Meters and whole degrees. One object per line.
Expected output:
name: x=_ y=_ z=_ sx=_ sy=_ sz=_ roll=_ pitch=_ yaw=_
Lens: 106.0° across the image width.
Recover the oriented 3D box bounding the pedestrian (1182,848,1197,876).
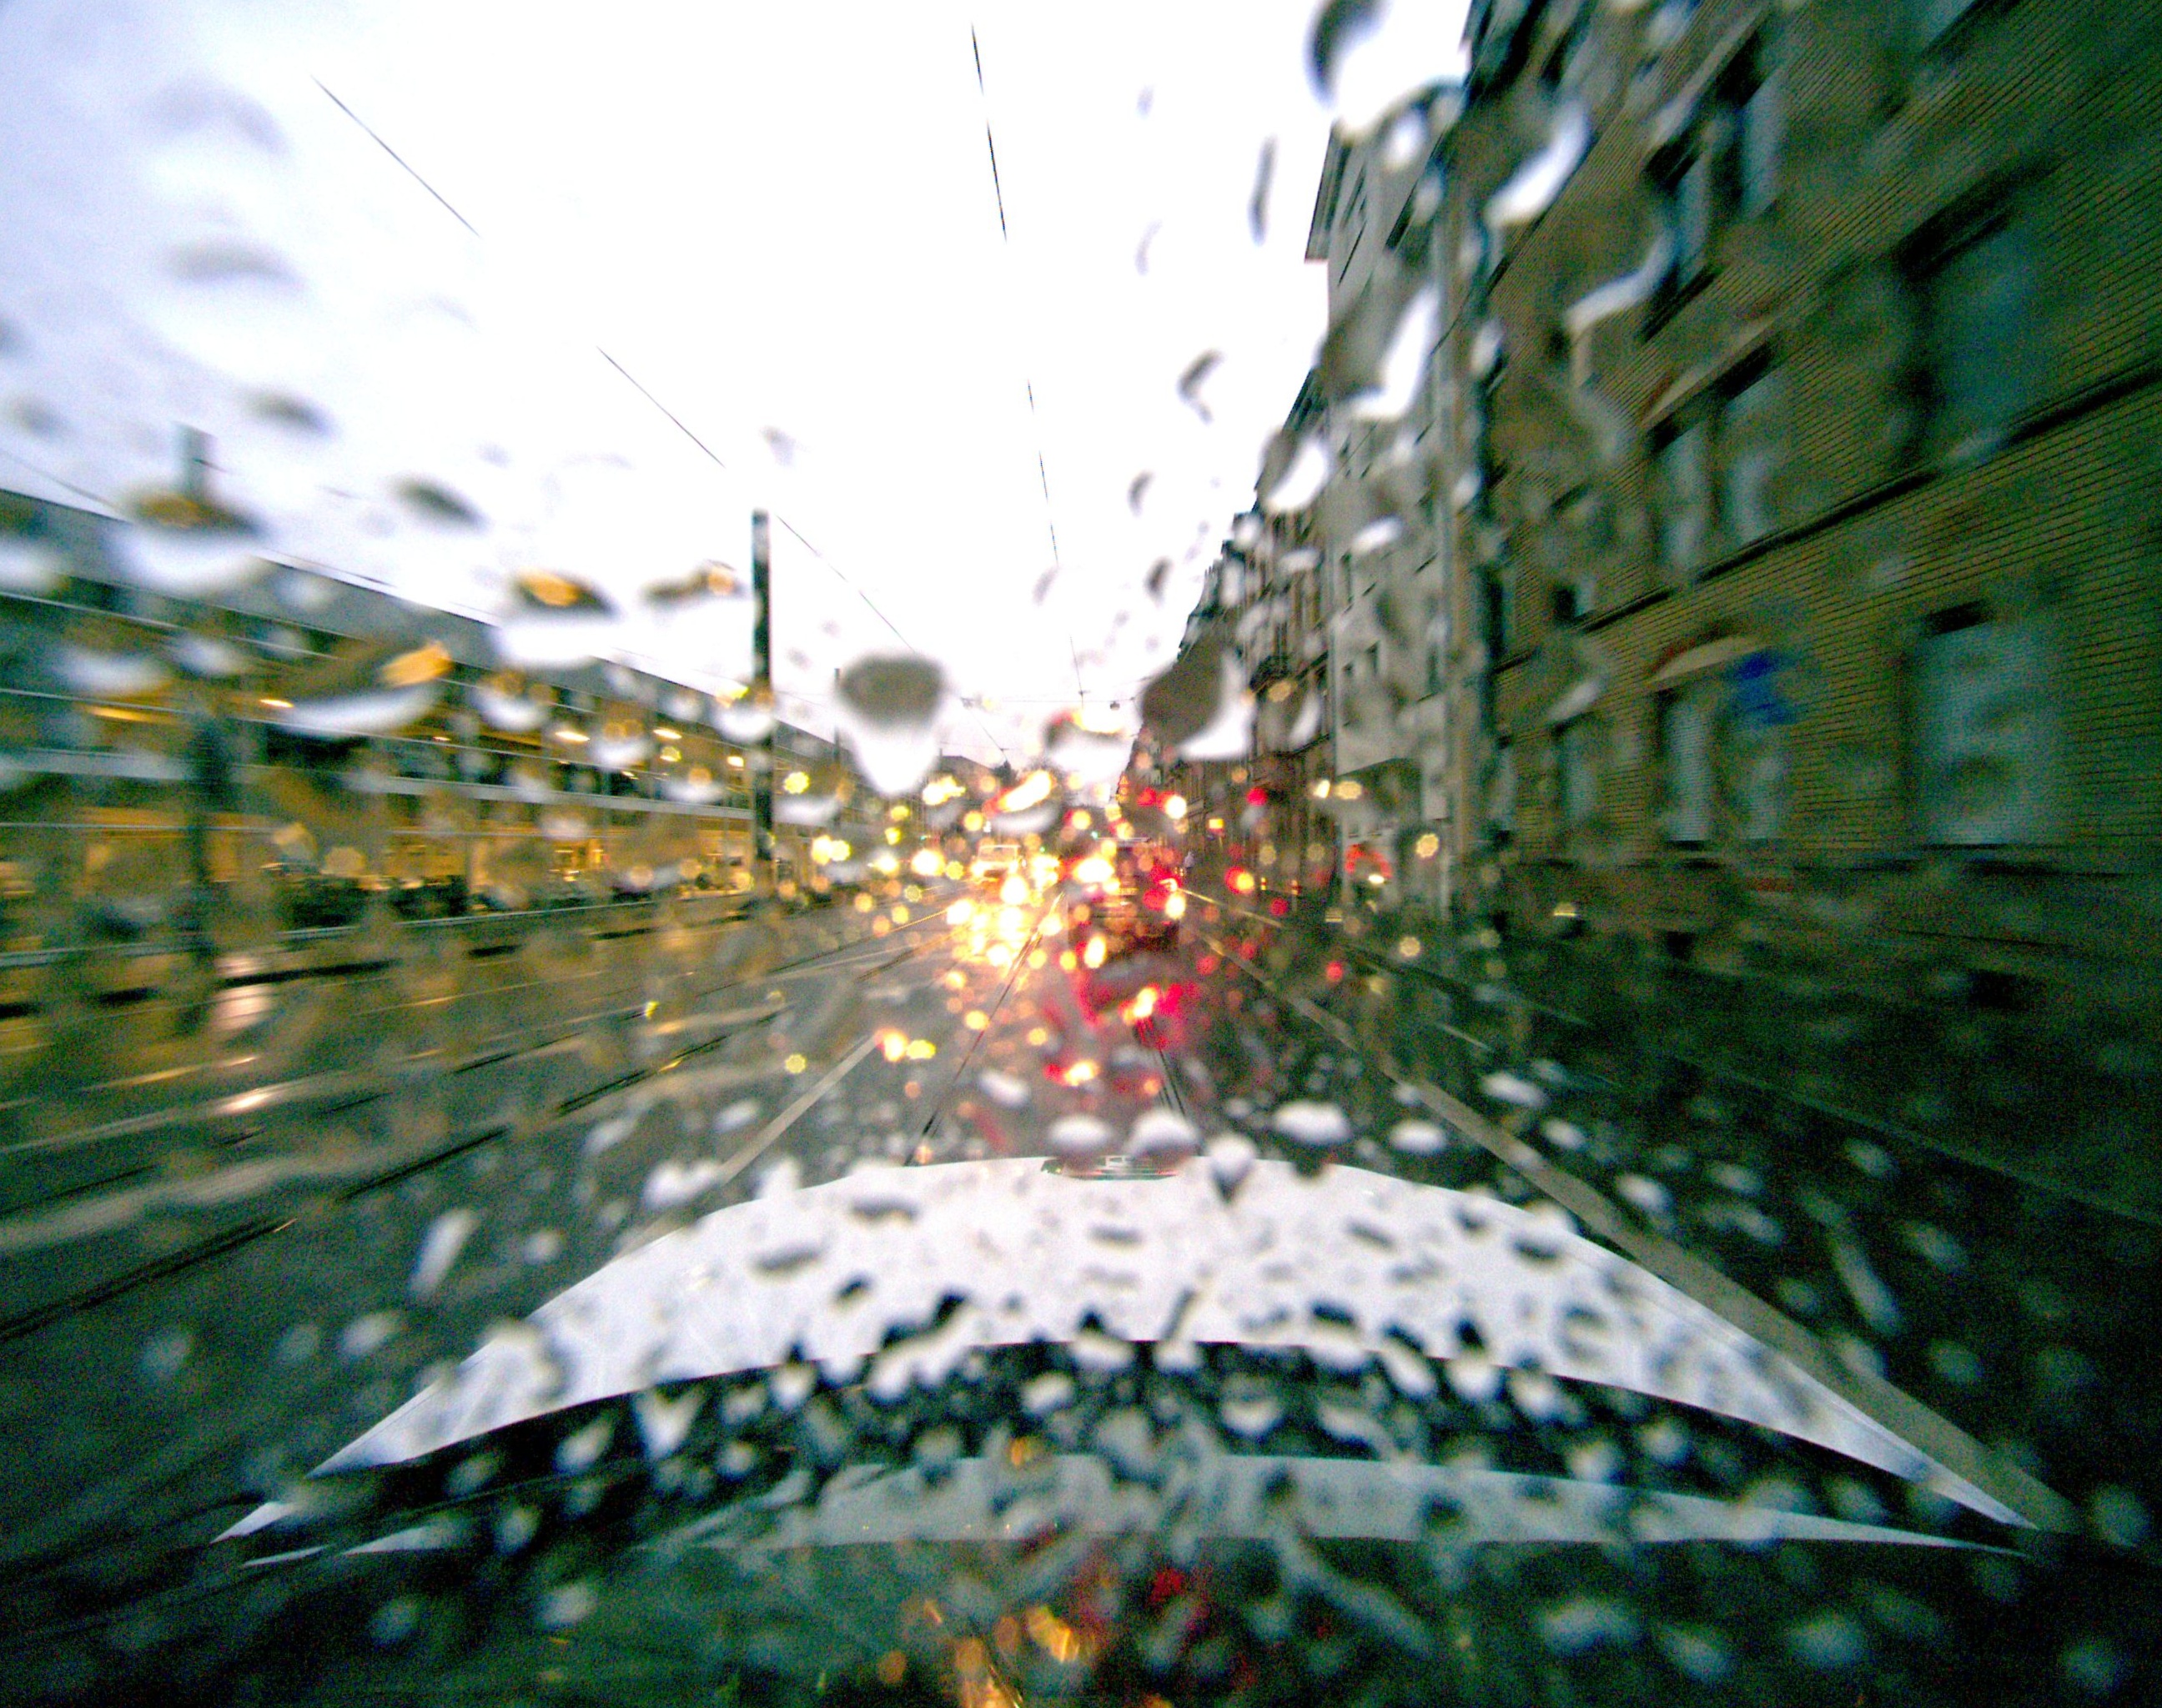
pedestrian: x=6.352 y=0.450 z=47.658 sx=0.783 sy=1.597 sz=0.742 roll=-1 pitch=0 yaw=1

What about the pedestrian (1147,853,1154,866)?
pedestrian: x=7.072 y=0.545 z=82.930 sx=0.598 sy=1.376 sz=0.728 roll=0 pitch=-1 yaw=0

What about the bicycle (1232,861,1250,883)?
bicycle: x=7.006 y=0.786 z=35.719 sx=0.396 sy=0.911 sz=1.866 roll=-1 pitch=0 yaw=0

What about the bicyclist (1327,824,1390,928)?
bicyclist: x=5.205 y=0.404 z=15.327 sx=0.743 sy=1.880 sz=1.111 roll=-1 pitch=-1 yaw=-2

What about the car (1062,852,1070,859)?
car: x=-3.550 y=0.382 z=198.667 sx=1.869 sy=1.709 sz=4.759 roll=-2 pitch=0 yaw=0

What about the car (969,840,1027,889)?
car: x=-3.621 y=0.465 z=36.385 sx=1.986 sy=2.014 sz=4.686 roll=0 pitch=0 yaw=2

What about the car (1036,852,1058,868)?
car: x=-3.490 y=0.634 z=84.518 sx=1.834 sy=1.578 sz=4.444 roll=-1 pitch=0 yaw=2

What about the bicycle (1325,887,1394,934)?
bicycle: x=5.219 y=1.037 z=15.361 sx=0.606 sy=0.761 sz=1.860 roll=-1 pitch=0 yaw=-1

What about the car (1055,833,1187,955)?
car: x=0.723 y=0.618 z=14.398 sx=1.985 sy=1.842 sz=4.003 roll=-1 pitch=0 yaw=3
